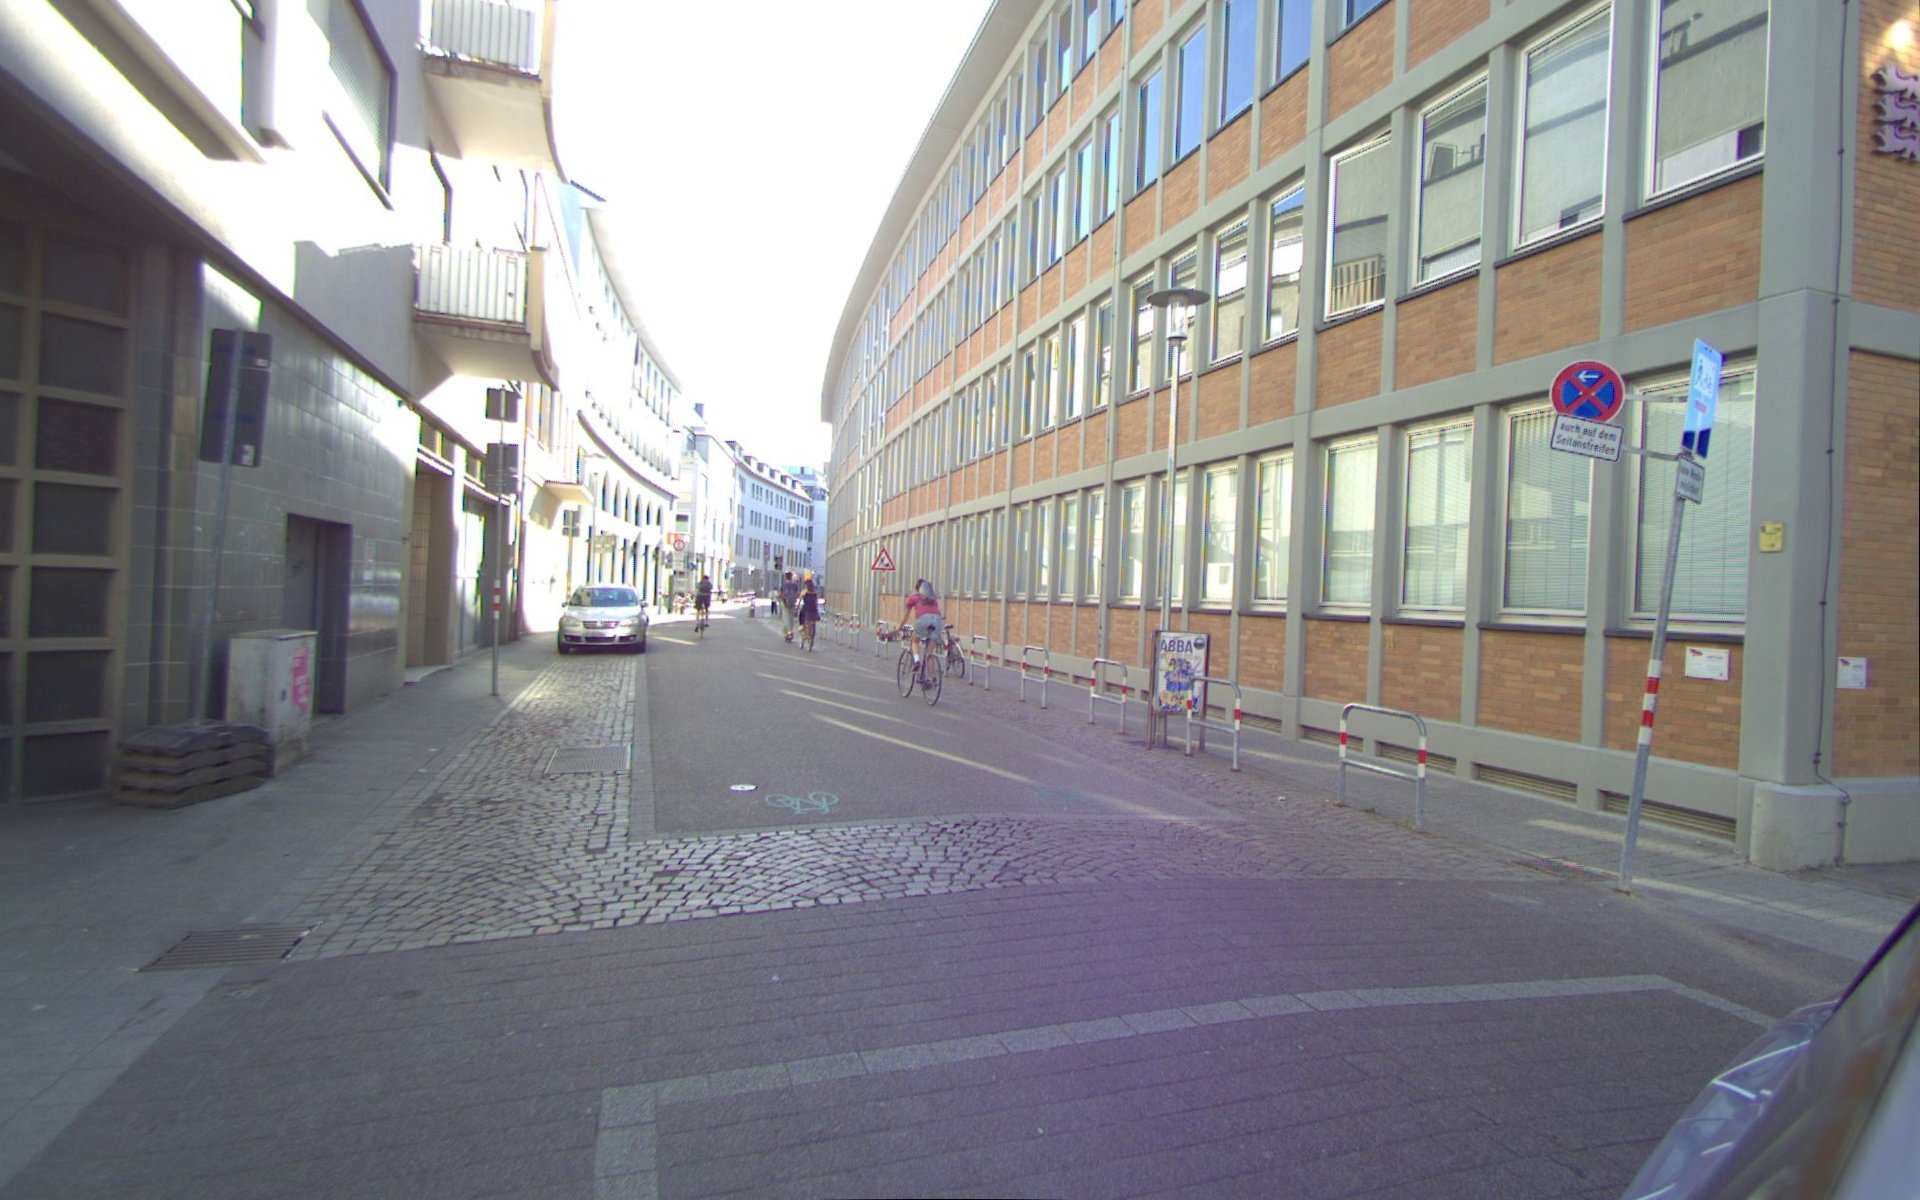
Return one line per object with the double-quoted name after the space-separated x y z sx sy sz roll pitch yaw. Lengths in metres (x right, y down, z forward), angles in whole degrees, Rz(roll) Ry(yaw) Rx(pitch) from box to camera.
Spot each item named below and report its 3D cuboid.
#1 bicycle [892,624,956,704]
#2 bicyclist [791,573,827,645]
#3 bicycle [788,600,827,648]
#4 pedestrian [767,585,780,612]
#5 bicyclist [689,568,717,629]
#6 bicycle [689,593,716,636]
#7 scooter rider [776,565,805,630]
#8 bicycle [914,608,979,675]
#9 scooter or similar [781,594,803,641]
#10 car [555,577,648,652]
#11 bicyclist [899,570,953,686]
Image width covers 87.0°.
-0.514 0.847 13.811 0.427 0.969 1.594 2 0 -17 "bicycle"
-3.661 0.208 24.562 0.607 1.687 0.825 5 -1 -18 "bicyclist"
-3.731 0.571 24.635 0.579 1.065 1.805 4 0 -18 "bicycle"
-10.299 -0.064 55.866 0.645 1.459 0.597 2 0 -15 "pedestrian"
-6.914 -0.055 27.195 0.636 1.578 1.112 2 0 -17 "bicyclist"
-6.898 0.374 27.090 0.562 1.064 1.840 2 0 -17 "bicycle"
-4.706 -0.072 28.021 0.635 1.747 0.704 2 1 -17 "scooter rider"
-0.281 0.758 18.962 0.624 1.130 1.935 2 0 -18 "bicycle"
-4.614 0.462 27.777 0.330 1.200 1.282 4 0 -17 "scooter or similar"
-7.732 0.250 22.090 1.733 1.488 3.822 0 1 -17 "car"
-0.478 0.368 13.836 0.419 1.517 0.877 4 0 -18 "bicyclist"
